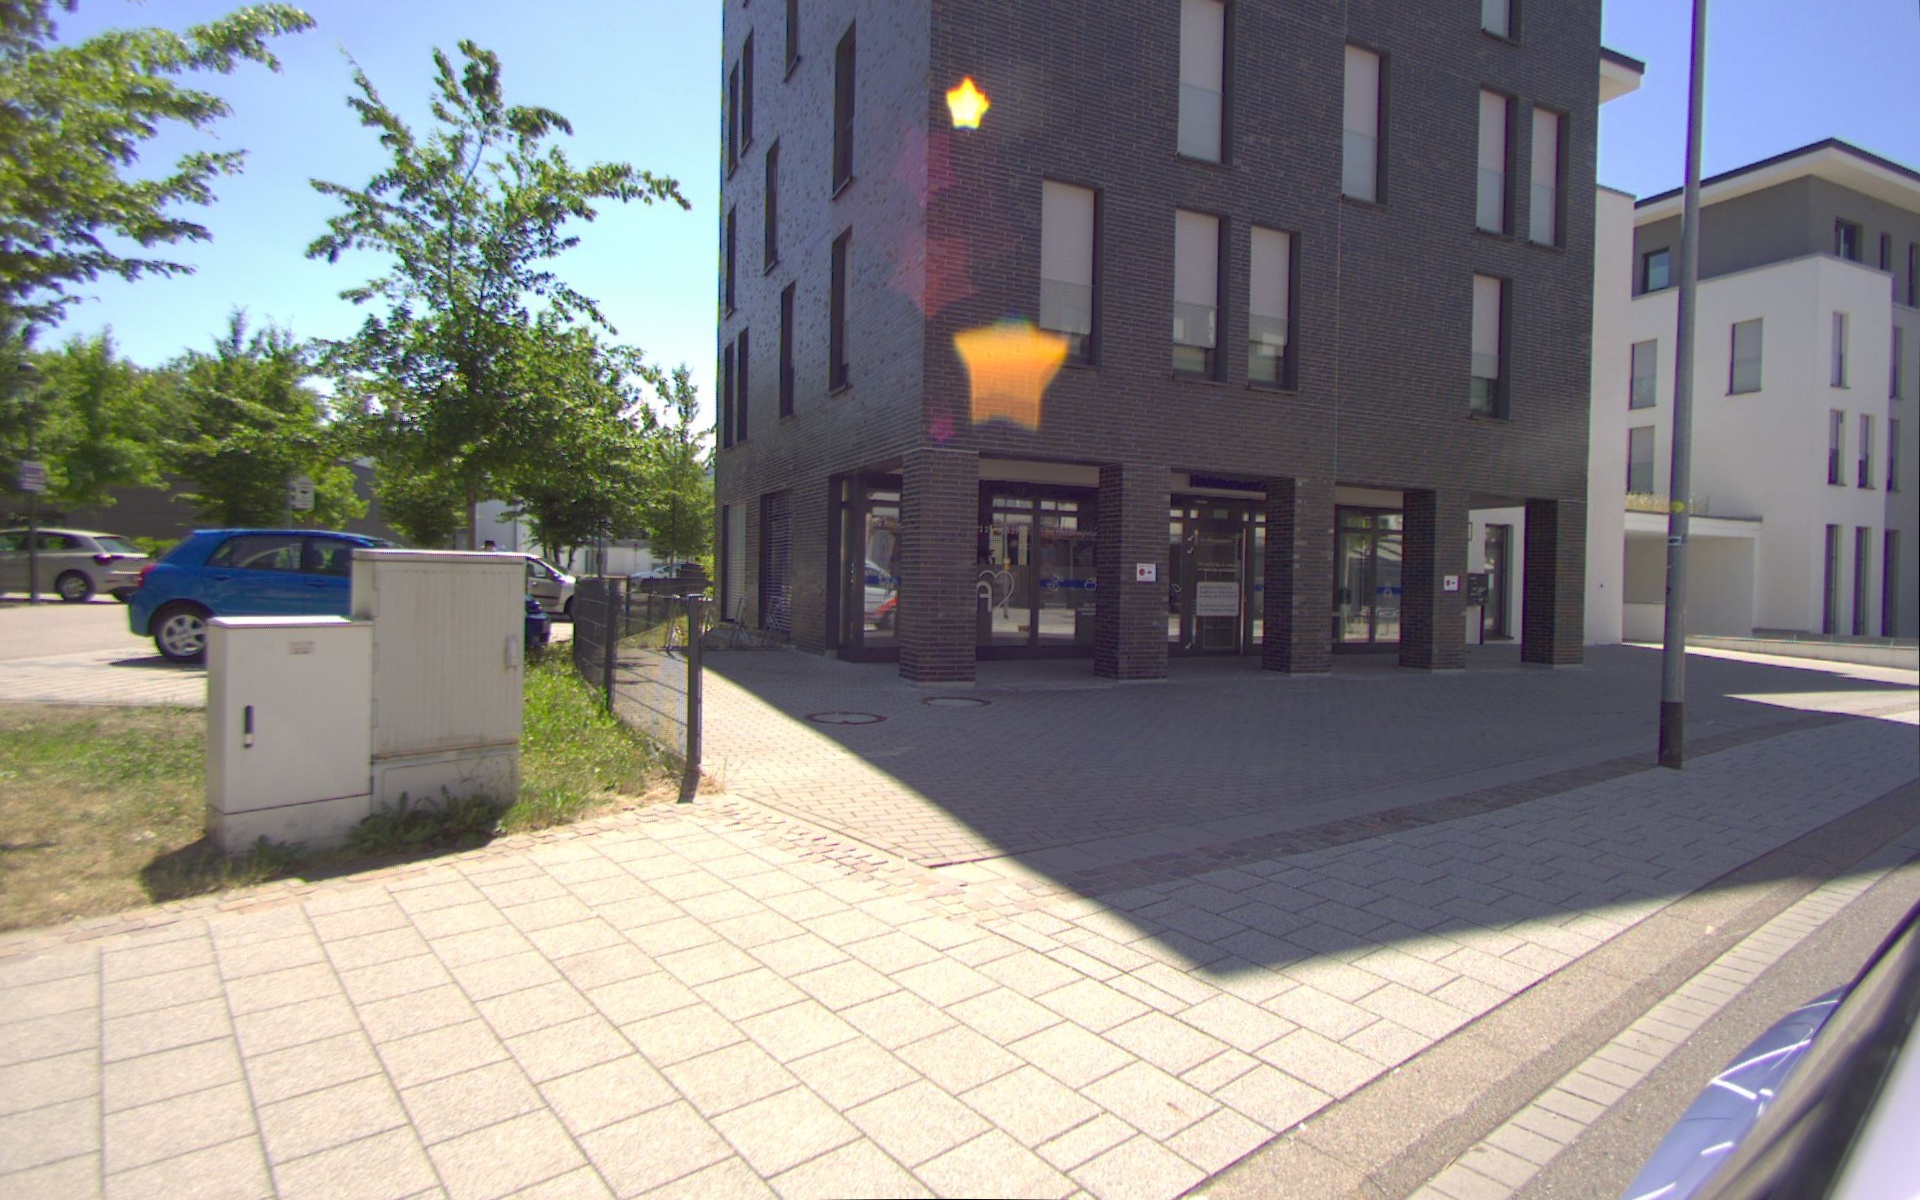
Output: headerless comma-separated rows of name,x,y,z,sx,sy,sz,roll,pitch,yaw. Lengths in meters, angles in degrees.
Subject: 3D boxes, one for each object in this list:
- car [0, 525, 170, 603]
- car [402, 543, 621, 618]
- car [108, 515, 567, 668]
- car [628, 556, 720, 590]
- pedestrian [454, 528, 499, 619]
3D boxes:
car,-18.753,-0.754,20.495,3.917,1.459,1.880,1,2,-10
car,-9.694,-0.430,22.204,4.085,1.459,1.821,2,2,-12
car,-6.853,-0.078,11.625,4.085,1.459,1.821,2,1,-12
car,-13.629,-1.304,48.315,4.085,1.459,1.821,1,2,-16
pedestrian,-9.844,-0.539,20.626,0.684,1.812,0.638,2,2,-15
